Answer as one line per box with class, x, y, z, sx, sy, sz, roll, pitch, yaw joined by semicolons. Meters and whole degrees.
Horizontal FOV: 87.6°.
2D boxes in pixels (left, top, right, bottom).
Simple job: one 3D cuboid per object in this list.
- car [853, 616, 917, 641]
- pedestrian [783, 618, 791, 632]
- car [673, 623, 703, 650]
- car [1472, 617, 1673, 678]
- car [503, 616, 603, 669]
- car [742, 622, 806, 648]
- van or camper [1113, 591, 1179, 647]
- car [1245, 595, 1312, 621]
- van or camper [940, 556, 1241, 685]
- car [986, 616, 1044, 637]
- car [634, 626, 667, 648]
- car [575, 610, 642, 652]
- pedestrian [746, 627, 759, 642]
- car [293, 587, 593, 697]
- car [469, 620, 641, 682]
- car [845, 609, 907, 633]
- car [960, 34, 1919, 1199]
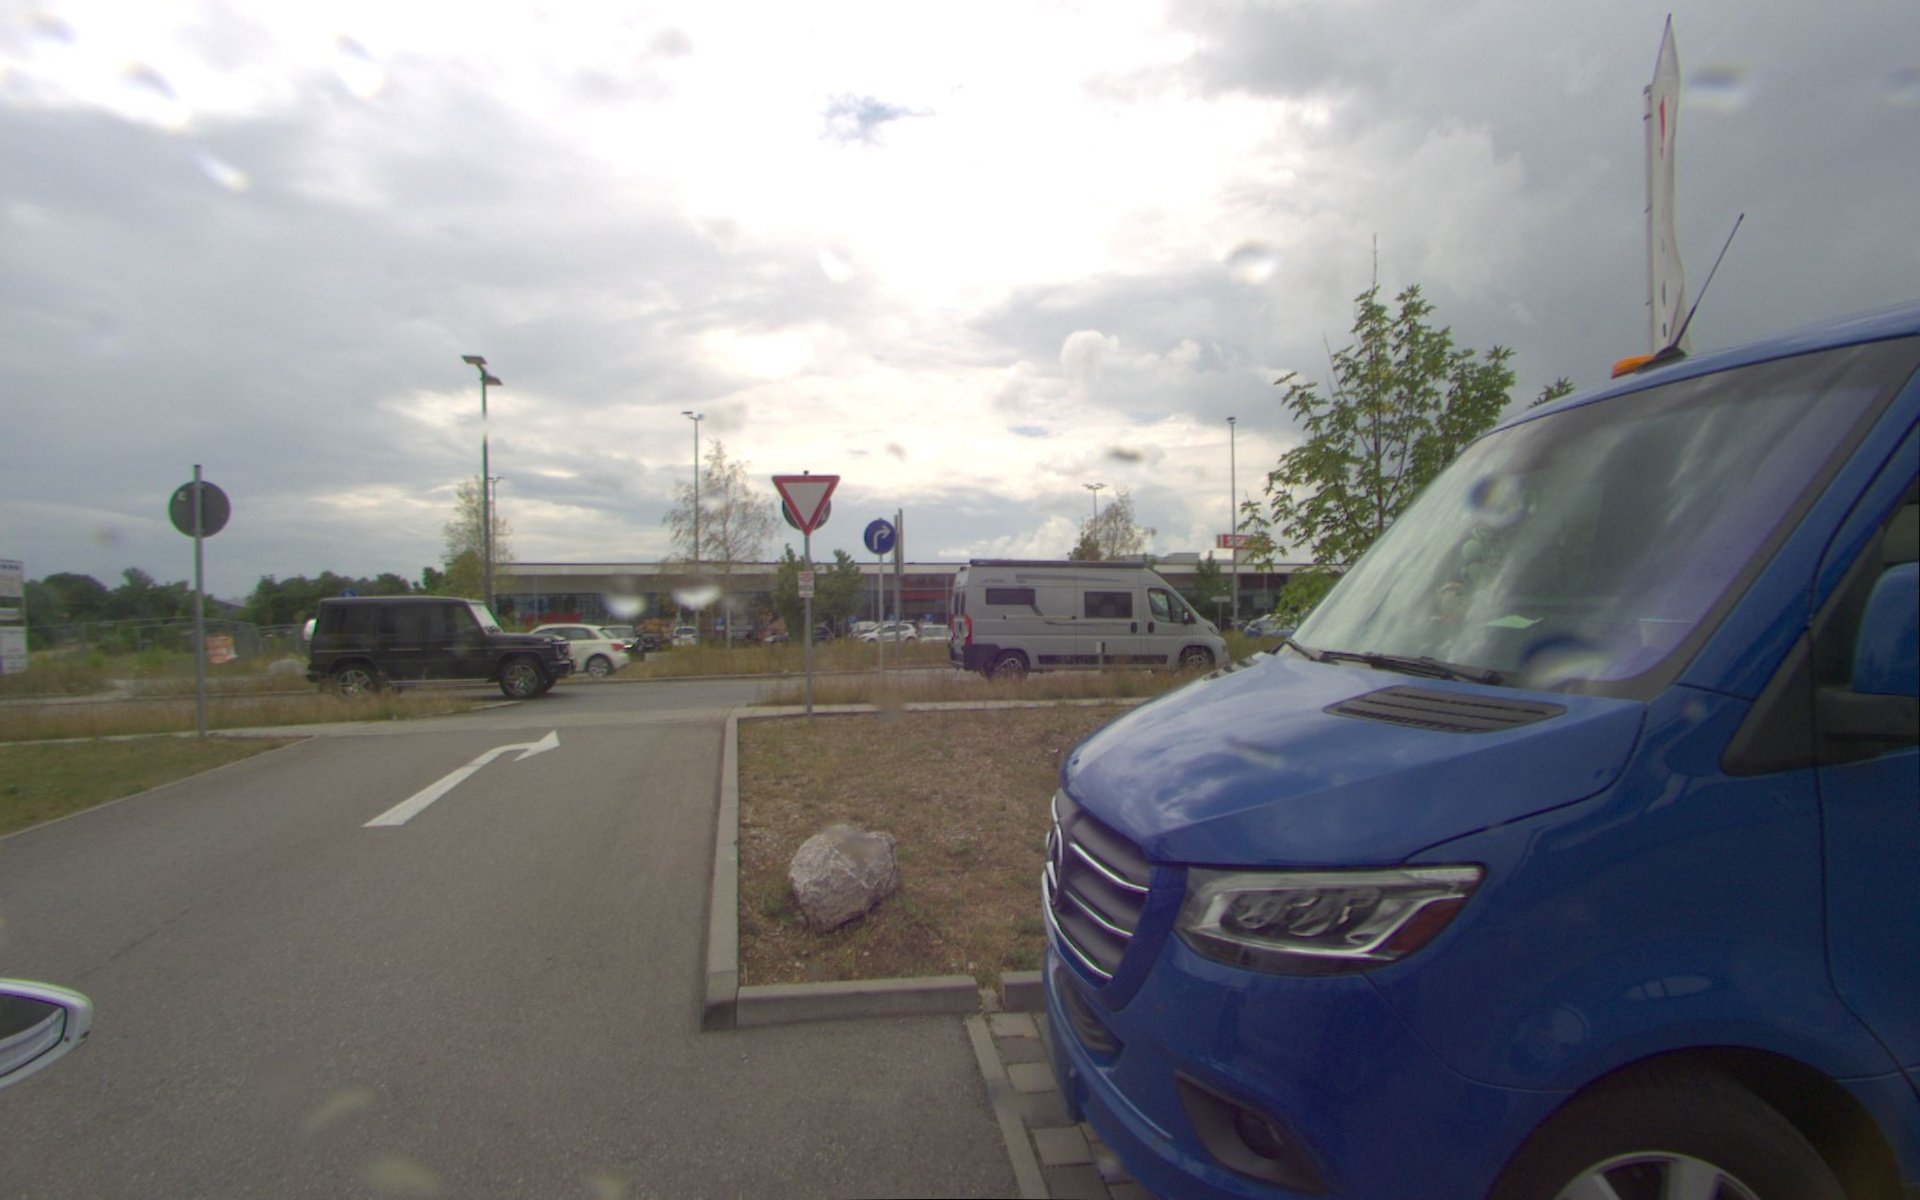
car;-4.650;1.754;61.750;3.691;1.473;1.665;0;0;-15
pedestrian;-13.983;2.037;80.850;0.568;1.138;0.560;-1;0;-19
car;-19.335;2.561;71.270;1.796;1.722;4.229;-1;0;-12
car;15.950;1.208;26.205;4.166;1.469;1.801;-1;-1;-3
car;-12.305;1.248;30.546;1.763;1.486;4.319;0;-1;-7
car;-11.043;2.050;59.457;3.554;1.473;1.665;0;0;-16
van or camper;8.732;0.907;47.304;2.246;2.524;4.001;0;-1;-2
car;23.368;0.583;73.494;4.350;1.842;1.997;0;-1;-18
van or camper;2.721;0.438;21.565;6.049;2.574;2.195;0;0;-10
car;4.141;1.996;75.644;3.927;1.528;1.998;0;-1;-14
car;-21.742;2.597;70.444;1.877;1.462;3.997;-1;-1;-12
car;-13.242;1.166;37.957;1.752;1.464;4.607;-1;-1;-11
pedestrian;-16.911;2.775;81.530;0.956;1.169;1.131;-1;0;-17
car;-9.725;0.783;19.266;4.759;1.949;1.998;0;0;-13
car;-10.488;1.297;26.224;3.984;1.500;1.756;0;-1;-17
car;-5.425;1.330;64.592;3.691;1.473;1.665;0;0;-15
car;3.911;0.293;2.959;7.704;2.353;2.201;0;-1;-4
